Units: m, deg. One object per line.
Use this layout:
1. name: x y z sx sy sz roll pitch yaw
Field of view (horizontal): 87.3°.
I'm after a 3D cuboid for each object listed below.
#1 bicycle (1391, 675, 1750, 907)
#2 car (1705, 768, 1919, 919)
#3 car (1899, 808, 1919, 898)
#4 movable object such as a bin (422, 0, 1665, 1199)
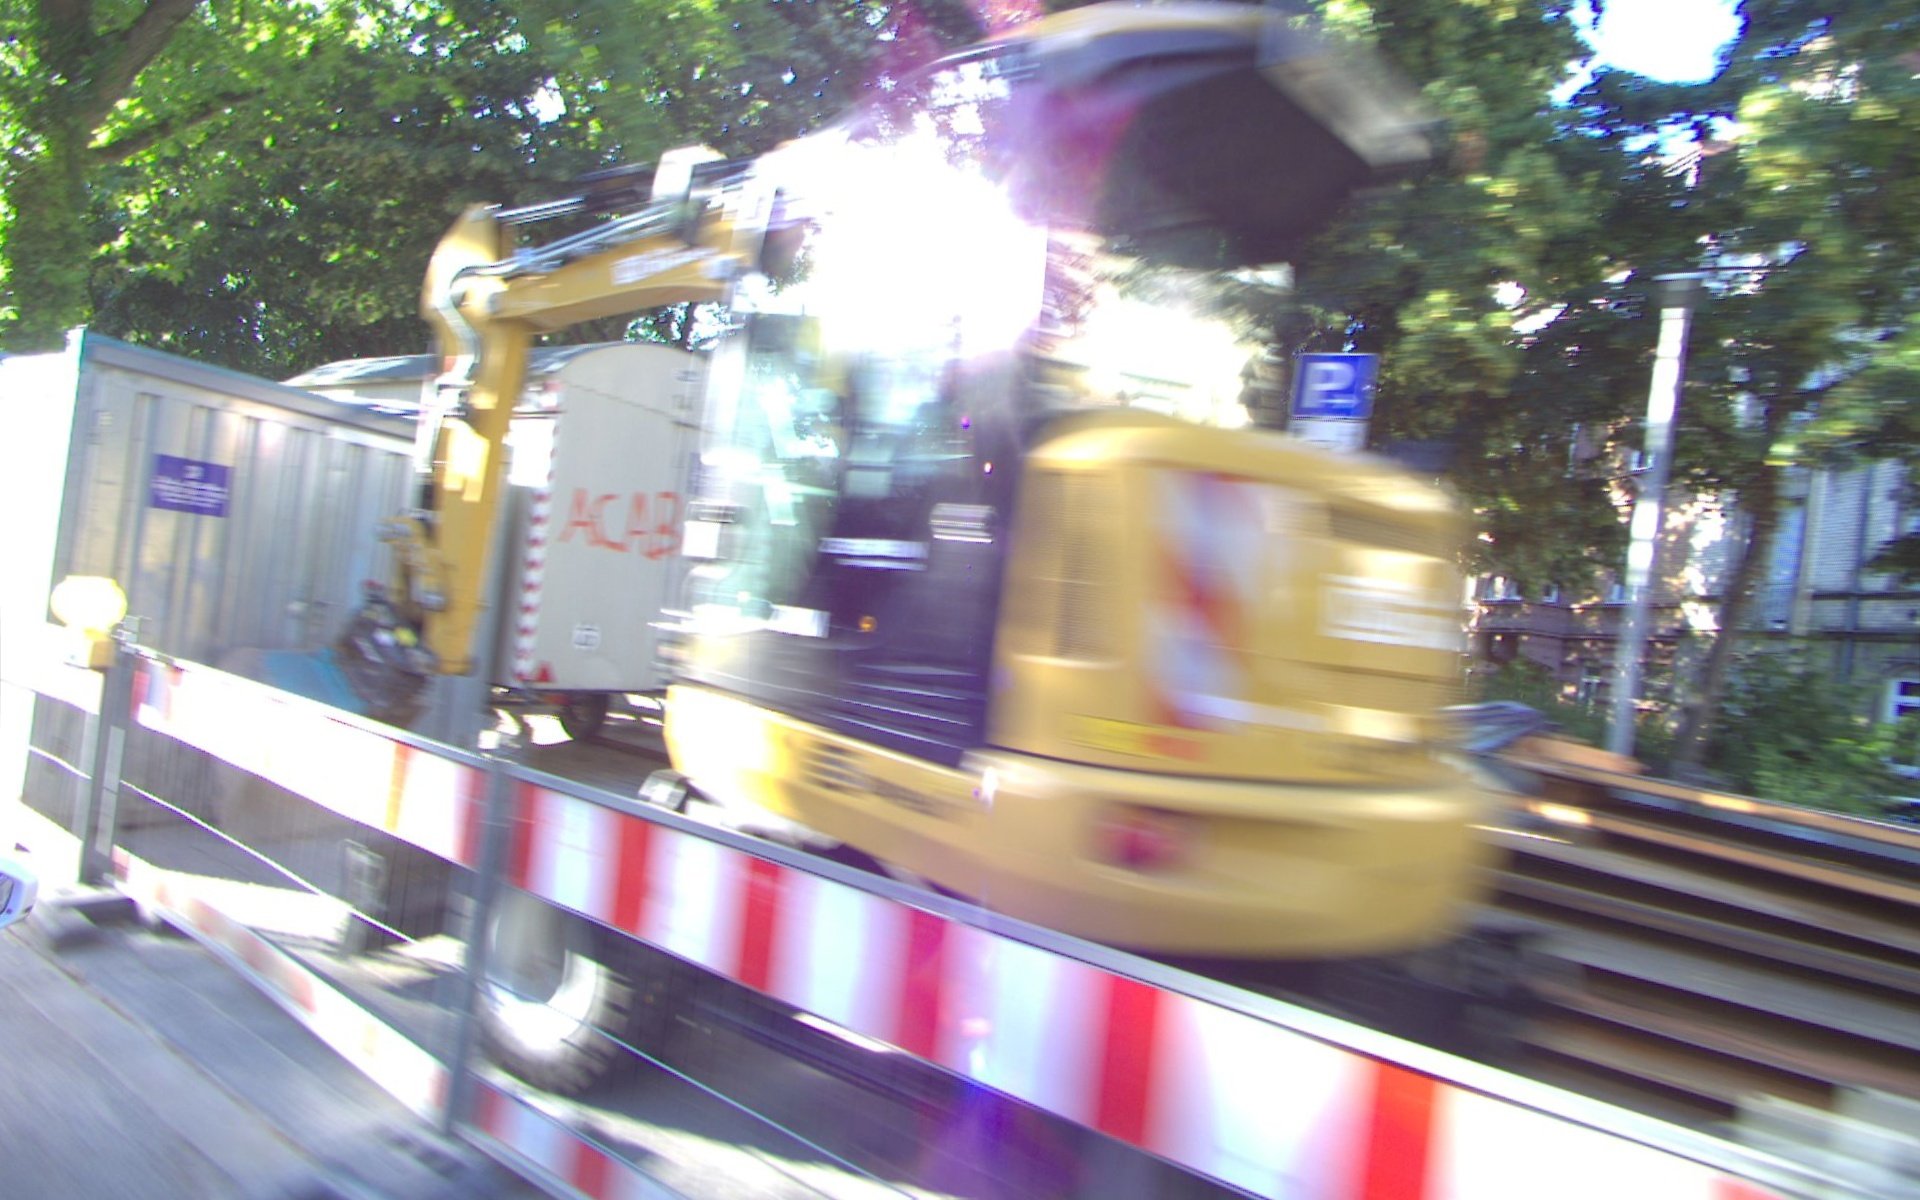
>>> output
1. bicycle: 4.690 1.420 7.978 2.107 1.301 1.027 9 1 19
2. car: 11.755 3.144 12.361 1.850 1.426 4.004 12 -5 -4
3. car: 16.447 4.080 14.598 1.739 1.393 4.004 5 -3 -3
4. movable object such as a bin: 0.035 0.147 3.197 3.070 2.731 1.990 7 -1 45
